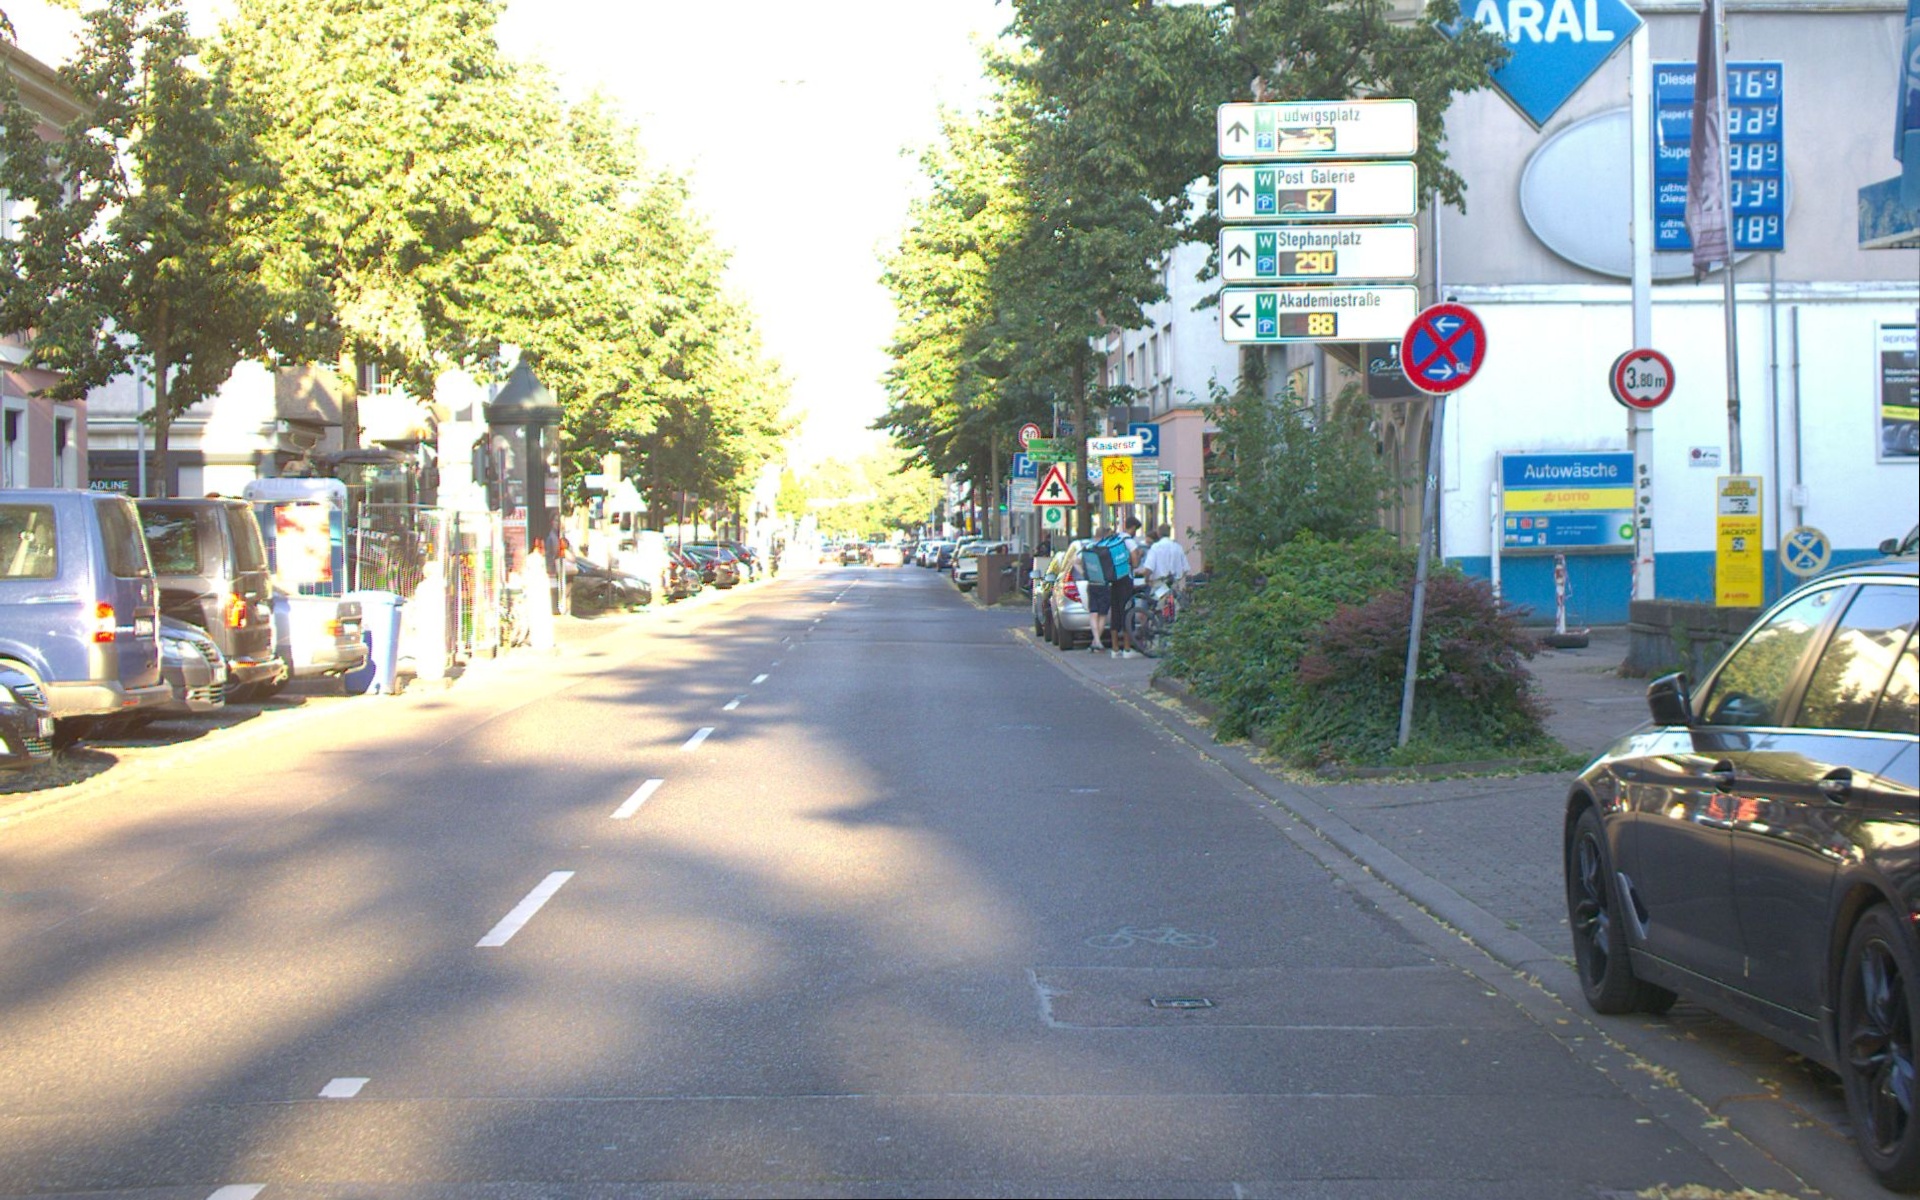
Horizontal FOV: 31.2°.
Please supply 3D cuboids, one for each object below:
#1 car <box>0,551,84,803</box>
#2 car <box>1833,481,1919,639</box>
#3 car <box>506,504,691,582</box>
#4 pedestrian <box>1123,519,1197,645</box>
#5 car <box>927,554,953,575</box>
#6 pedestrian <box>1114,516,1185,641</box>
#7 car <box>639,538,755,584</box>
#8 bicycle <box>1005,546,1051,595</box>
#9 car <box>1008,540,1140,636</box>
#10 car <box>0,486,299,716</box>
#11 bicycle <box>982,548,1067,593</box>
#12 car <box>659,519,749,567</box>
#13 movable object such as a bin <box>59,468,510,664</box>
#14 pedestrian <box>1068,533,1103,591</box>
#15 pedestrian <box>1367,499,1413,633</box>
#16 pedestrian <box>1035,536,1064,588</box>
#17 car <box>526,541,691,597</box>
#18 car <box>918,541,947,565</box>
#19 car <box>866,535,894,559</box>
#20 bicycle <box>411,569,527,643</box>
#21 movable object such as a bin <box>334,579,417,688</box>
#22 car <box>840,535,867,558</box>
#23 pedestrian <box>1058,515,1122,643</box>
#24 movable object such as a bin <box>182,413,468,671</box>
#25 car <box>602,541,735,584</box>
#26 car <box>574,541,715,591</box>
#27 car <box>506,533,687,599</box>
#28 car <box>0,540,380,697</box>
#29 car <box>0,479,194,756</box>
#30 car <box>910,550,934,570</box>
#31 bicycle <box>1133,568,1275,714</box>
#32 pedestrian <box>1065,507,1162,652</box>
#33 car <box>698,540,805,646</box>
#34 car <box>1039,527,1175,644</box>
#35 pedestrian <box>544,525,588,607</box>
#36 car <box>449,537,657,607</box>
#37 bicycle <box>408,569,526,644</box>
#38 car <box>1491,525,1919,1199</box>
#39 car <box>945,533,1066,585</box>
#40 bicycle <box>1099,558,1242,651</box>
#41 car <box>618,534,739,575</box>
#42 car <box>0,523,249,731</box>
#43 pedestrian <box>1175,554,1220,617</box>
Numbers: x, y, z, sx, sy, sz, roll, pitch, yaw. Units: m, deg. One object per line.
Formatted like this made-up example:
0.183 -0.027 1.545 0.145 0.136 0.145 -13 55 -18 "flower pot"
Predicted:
-7.801 0.432 21.396 4.325 1.496 1.842 1 1 -6 "car"
9.538 -0.387 31.413 1.734 1.426 4.909 -2 0 -1 "car"
-9.261 -1.452 88.321 4.571 1.955 1.991 0 1 -1 "car"
2.744 -0.246 47.147 0.651 1.694 0.667 -4 1 -45 "pedestrian"
-1.182 -2.102 204.855 1.513 1.259 3.304 0 0 0 "car"
2.633 -0.302 47.770 0.677 1.700 0.825 -3 1 -15 "pedestrian"
-10.440 -1.546 136.586 4.442 1.753 1.919 0 1 0 "car"
1.655 -0.736 83.754 0.598 1.174 1.844 0 1 18 "bicycle"
1.780 -0.223 55.083 1.785 1.371 4.524 -3 1 -1 "car"
-8.307 -0.022 30.675 4.483 1.969 1.966 1 1 -3 "car"
1.538 -0.715 82.291 1.957 1.070 0.704 0 1 31 "bicycle"
-12.936 -2.885 174.001 4.442 2.426 1.919 0 1 0 "car"
-9.064 -0.488 46.561 2.312 2.486 5.740 1 1 42 "movable object such as a bin"
4.201 -1.261 115.167 0.916 1.919 1.018 1 1 -11 "pedestrian"
6.046 -0.479 48.353 0.460 1.869 0.501 -1 1 -16 "pedestrian"
2.336 -0.997 89.946 0.726 1.373 0.781 0 1 -1 "pedestrian"
-9.801 -0.872 96.119 4.442 1.501 1.845 0 1 0 "car"
-1.493 -2.536 186.551 1.513 1.271 3.304 0 0 0 "car"
-5.216 -3.466 225.224 1.752 1.535 3.304 -1 0 0 "car"
-7.586 0.097 53.117 1.683 1.075 0.444 2 0 7 "bicycle"
-6.118 0.343 36.022 0.690 1.101 0.883 -1 1 1 "movable object such as a bin"
-7.427 -3.699 239.316 1.752 1.535 3.304 -1 0 0 "car"
1.793 -0.293 47.564 0.677 1.748 0.825 -1 1 -11 "pedestrian"
-7.706 -0.717 42.322 2.624 2.959 5.304 0 1 -1 "movable object such as a bin"
-10.081 -1.301 119.215 4.442 1.444 1.919 0 1 0 "car"
-10.315 -1.115 112.583 4.442 1.562 1.919 0 1 0 "car"
-9.601 -0.896 91.124 4.571 1.692 2.060 0 1 0 "car"
-8.212 0.154 33.972 4.594 1.465 1.892 0 1 2 "car"
-8.158 0.100 25.536 4.483 1.969 2.068 0 1 0 "car"
-2.526 -2.624 227.483 1.513 1.294 3.304 0 0 0 "car"
2.091 0.335 29.267 0.483 1.139 1.678 -3 1 30 "bicycle"
1.992 -0.271 44.673 1.013 1.819 0.780 -3 1 -11 "pedestrian"
-3.841 -0.169 63.891 1.708 1.817 4.013 -3 1 -1 "car"
2.122 -0.251 50.546 1.687 1.569 4.013 -3 1 -1 "car"
-8.113 -0.699 70.787 0.710 1.680 0.833 0 1 8 "pedestrian"
-9.190 -0.636 77.927 4.546 1.536 1.811 0 1 -2 "car"
-7.527 0.092 52.521 1.683 1.075 0.444 2 0 7 "bicycle"
2.869 0.555 9.265 1.828 1.483 4.850 -3 1 -3 "car"
1.427 -1.285 107.024 1.674 1.583 3.814 1 1 42 "car"
2.740 0.051 44.579 0.866 1.095 1.923 -1 2 38 "bicycle"
-10.636 -1.725 130.080 4.442 1.518 1.919 0 1 0 "car"
-8.092 0.183 28.205 4.129 1.631 1.860 1 1 0 "car"
4.421 -0.272 64.042 0.681 1.137 1.361 -2 -1 -1 "pedestrian"
